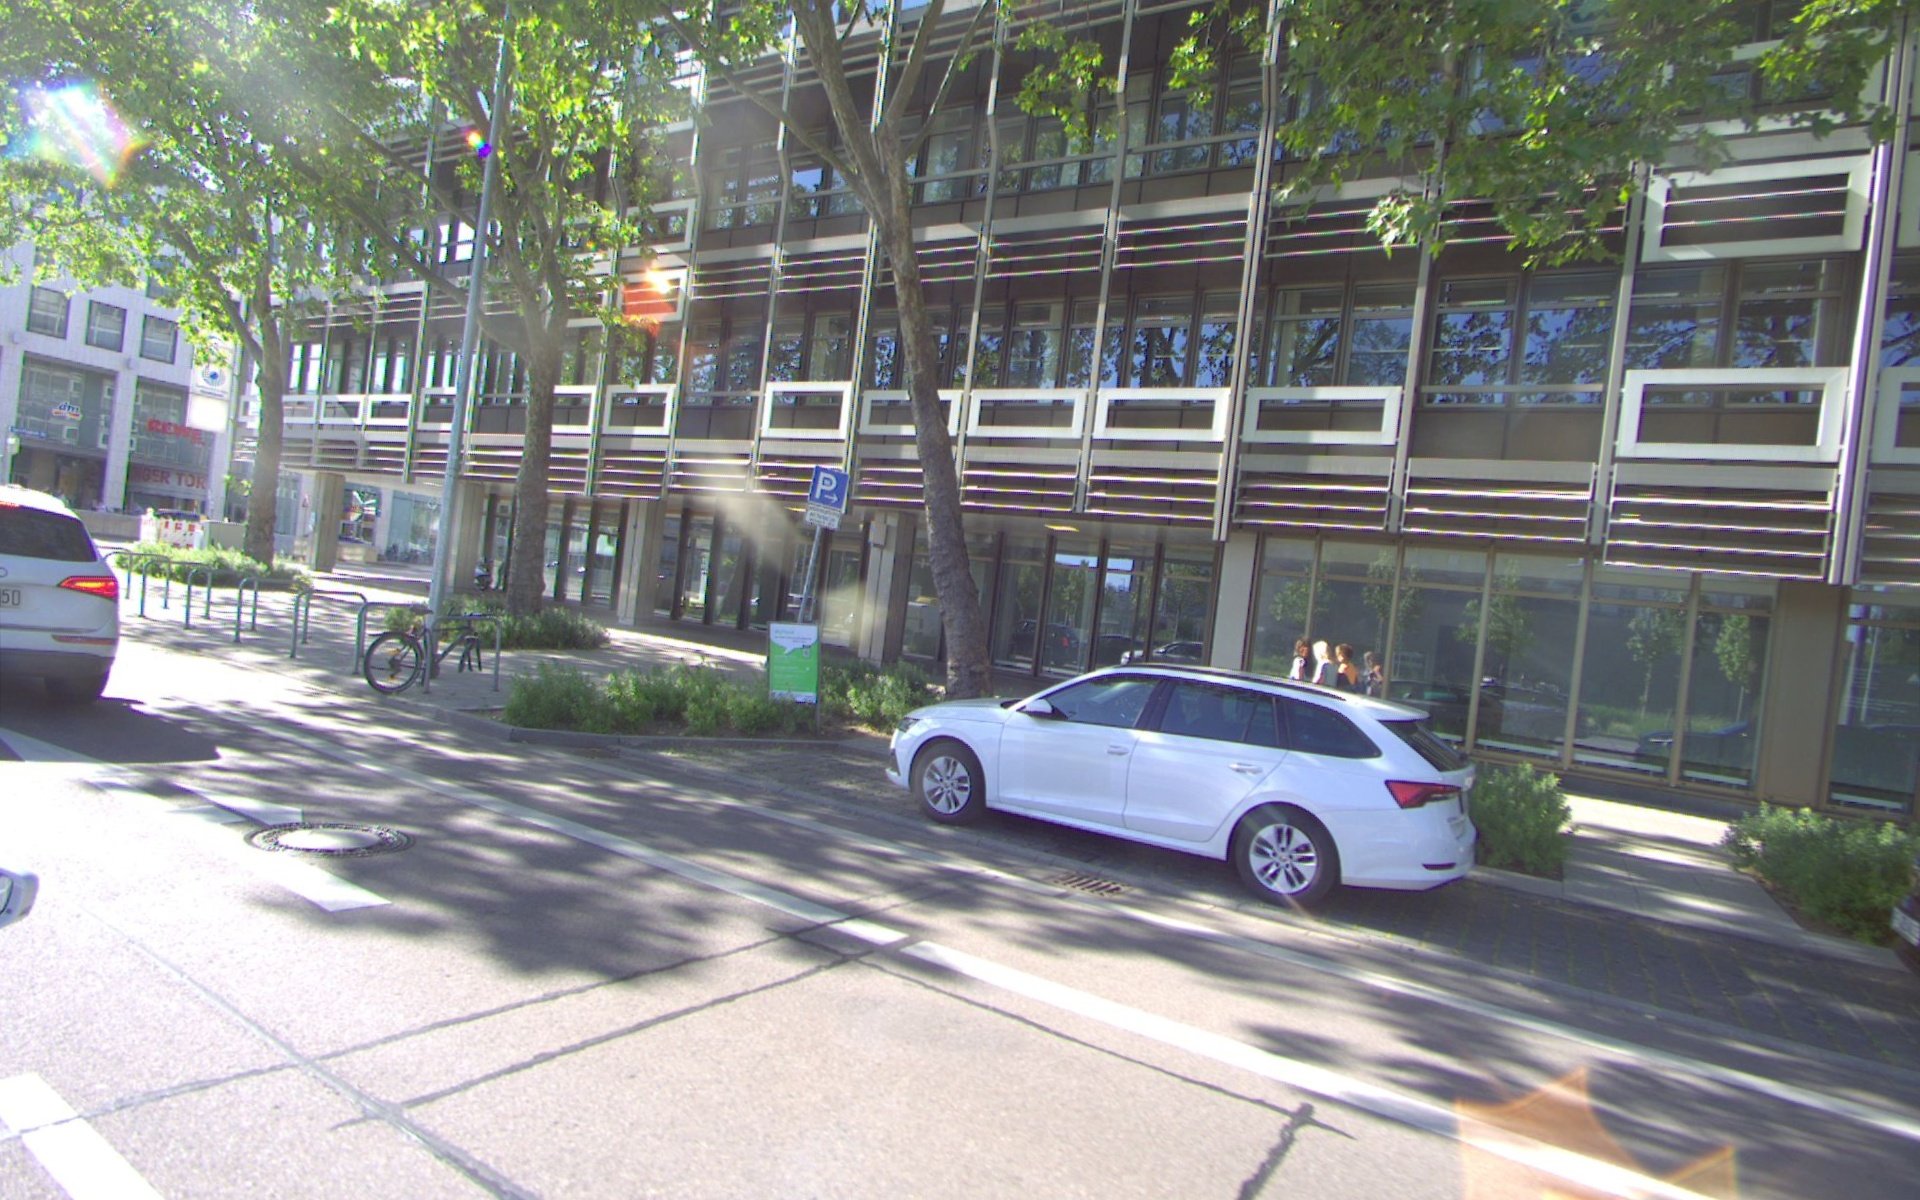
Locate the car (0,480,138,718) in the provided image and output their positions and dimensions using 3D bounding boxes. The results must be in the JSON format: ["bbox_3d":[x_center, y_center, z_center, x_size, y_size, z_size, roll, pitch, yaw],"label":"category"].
[{"bbox_3d":[-8.420,-0.222,7.934,4.118,1.637,1.724,7,-1,33],"label":"car"}]

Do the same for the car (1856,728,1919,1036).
[{"bbox_3d":[7.040,1.716,4.510,4.122,1.582,1.707,7,-1,32],"label":"car"}]

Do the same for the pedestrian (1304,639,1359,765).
[{"bbox_3d":[4.985,1.357,13.508,0.492,1.603,0.316,7,0,23],"label":"pedestrian"}]

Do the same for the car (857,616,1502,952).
[{"bbox_3d":[1.581,1.191,7.922,4.524,1.510,1.707,7,-1,32],"label":"car"}]

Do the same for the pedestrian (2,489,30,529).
[{"bbox_3d":[-36.801,-3.535,39.221,0.622,1.457,0.562,6,-2,38],"label":"pedestrian"}]

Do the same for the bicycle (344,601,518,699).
[{"bbox_3d":[-5.870,0.560,11.261,0.470,0.969,1.696,7,1,27],"label":"bicycle"}]

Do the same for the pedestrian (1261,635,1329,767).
[{"bbox_3d":[4.358,1.298,13.081,0.623,1.603,0.507,7,0,23],"label":"pedestrian"}]

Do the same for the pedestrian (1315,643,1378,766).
[{"bbox_3d":[5.428,1.457,14.116,0.563,1.622,0.554,7,0,31],"label":"pedestrian"}]
